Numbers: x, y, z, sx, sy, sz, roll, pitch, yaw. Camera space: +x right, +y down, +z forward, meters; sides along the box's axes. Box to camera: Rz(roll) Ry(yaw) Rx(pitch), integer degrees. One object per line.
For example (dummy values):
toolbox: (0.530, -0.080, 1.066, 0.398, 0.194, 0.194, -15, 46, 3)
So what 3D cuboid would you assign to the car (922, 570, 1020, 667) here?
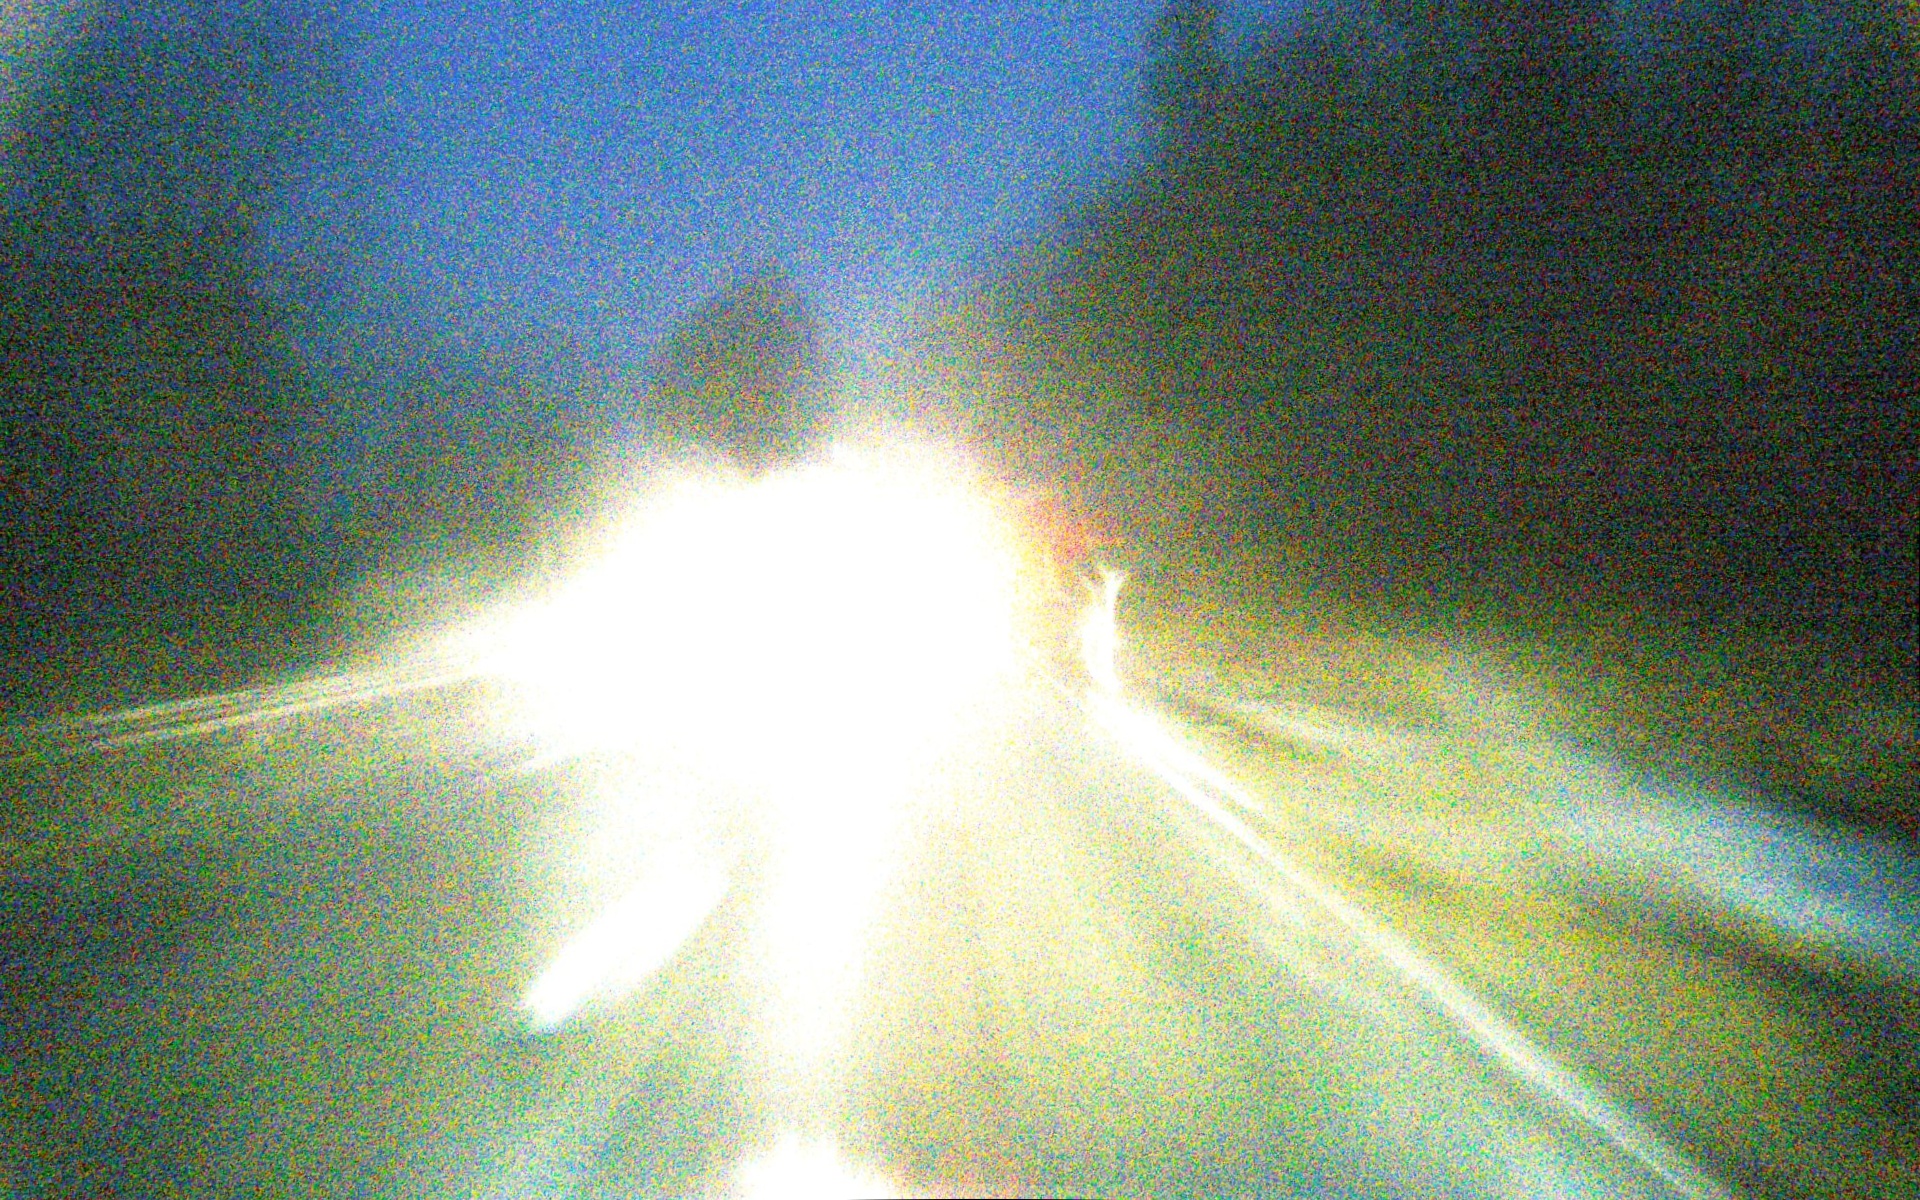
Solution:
car: (0.195, 0.333, 34.925, 1.953, 1.838, 3.917, 0, 2, -1)

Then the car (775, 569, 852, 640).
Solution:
car: (-4.063, 0.084, 46.440, 1.953, 1.812, 3.999, 0, 2, -2)
